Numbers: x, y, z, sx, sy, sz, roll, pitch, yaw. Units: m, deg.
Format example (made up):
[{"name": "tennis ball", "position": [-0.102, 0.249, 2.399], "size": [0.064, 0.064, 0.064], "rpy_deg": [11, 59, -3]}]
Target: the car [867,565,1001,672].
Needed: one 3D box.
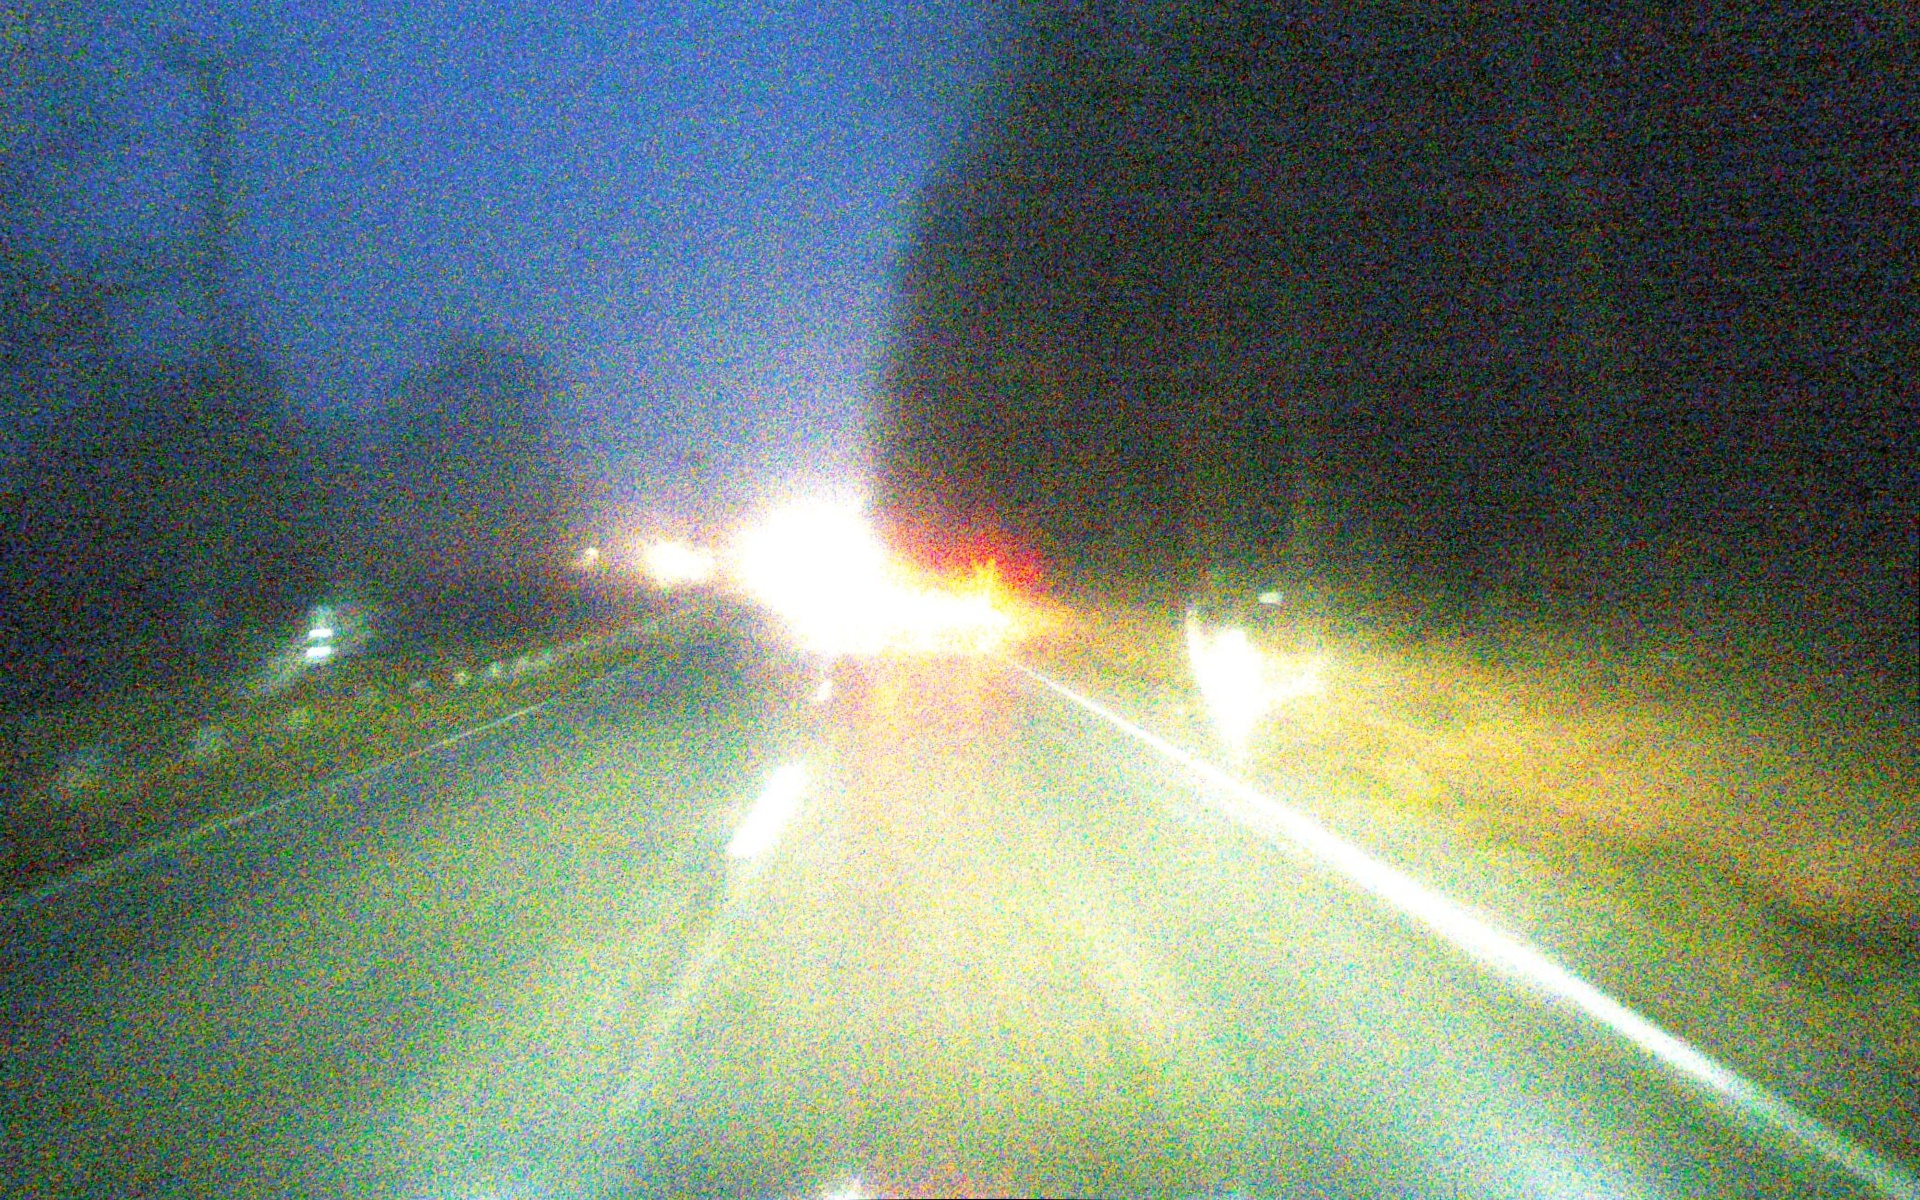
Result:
[{"name": "car", "position": [-0.622, 0.334, 33.429], "size": [2.409, 1.993, 4.907], "rpy_deg": [0, 0, -4]}]

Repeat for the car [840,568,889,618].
[{"name": "car", "position": [-4.167, -0.311, 71.682], "size": [1.954, 2.049, 3.996], "rpy_deg": [2, 0, -5]}]
